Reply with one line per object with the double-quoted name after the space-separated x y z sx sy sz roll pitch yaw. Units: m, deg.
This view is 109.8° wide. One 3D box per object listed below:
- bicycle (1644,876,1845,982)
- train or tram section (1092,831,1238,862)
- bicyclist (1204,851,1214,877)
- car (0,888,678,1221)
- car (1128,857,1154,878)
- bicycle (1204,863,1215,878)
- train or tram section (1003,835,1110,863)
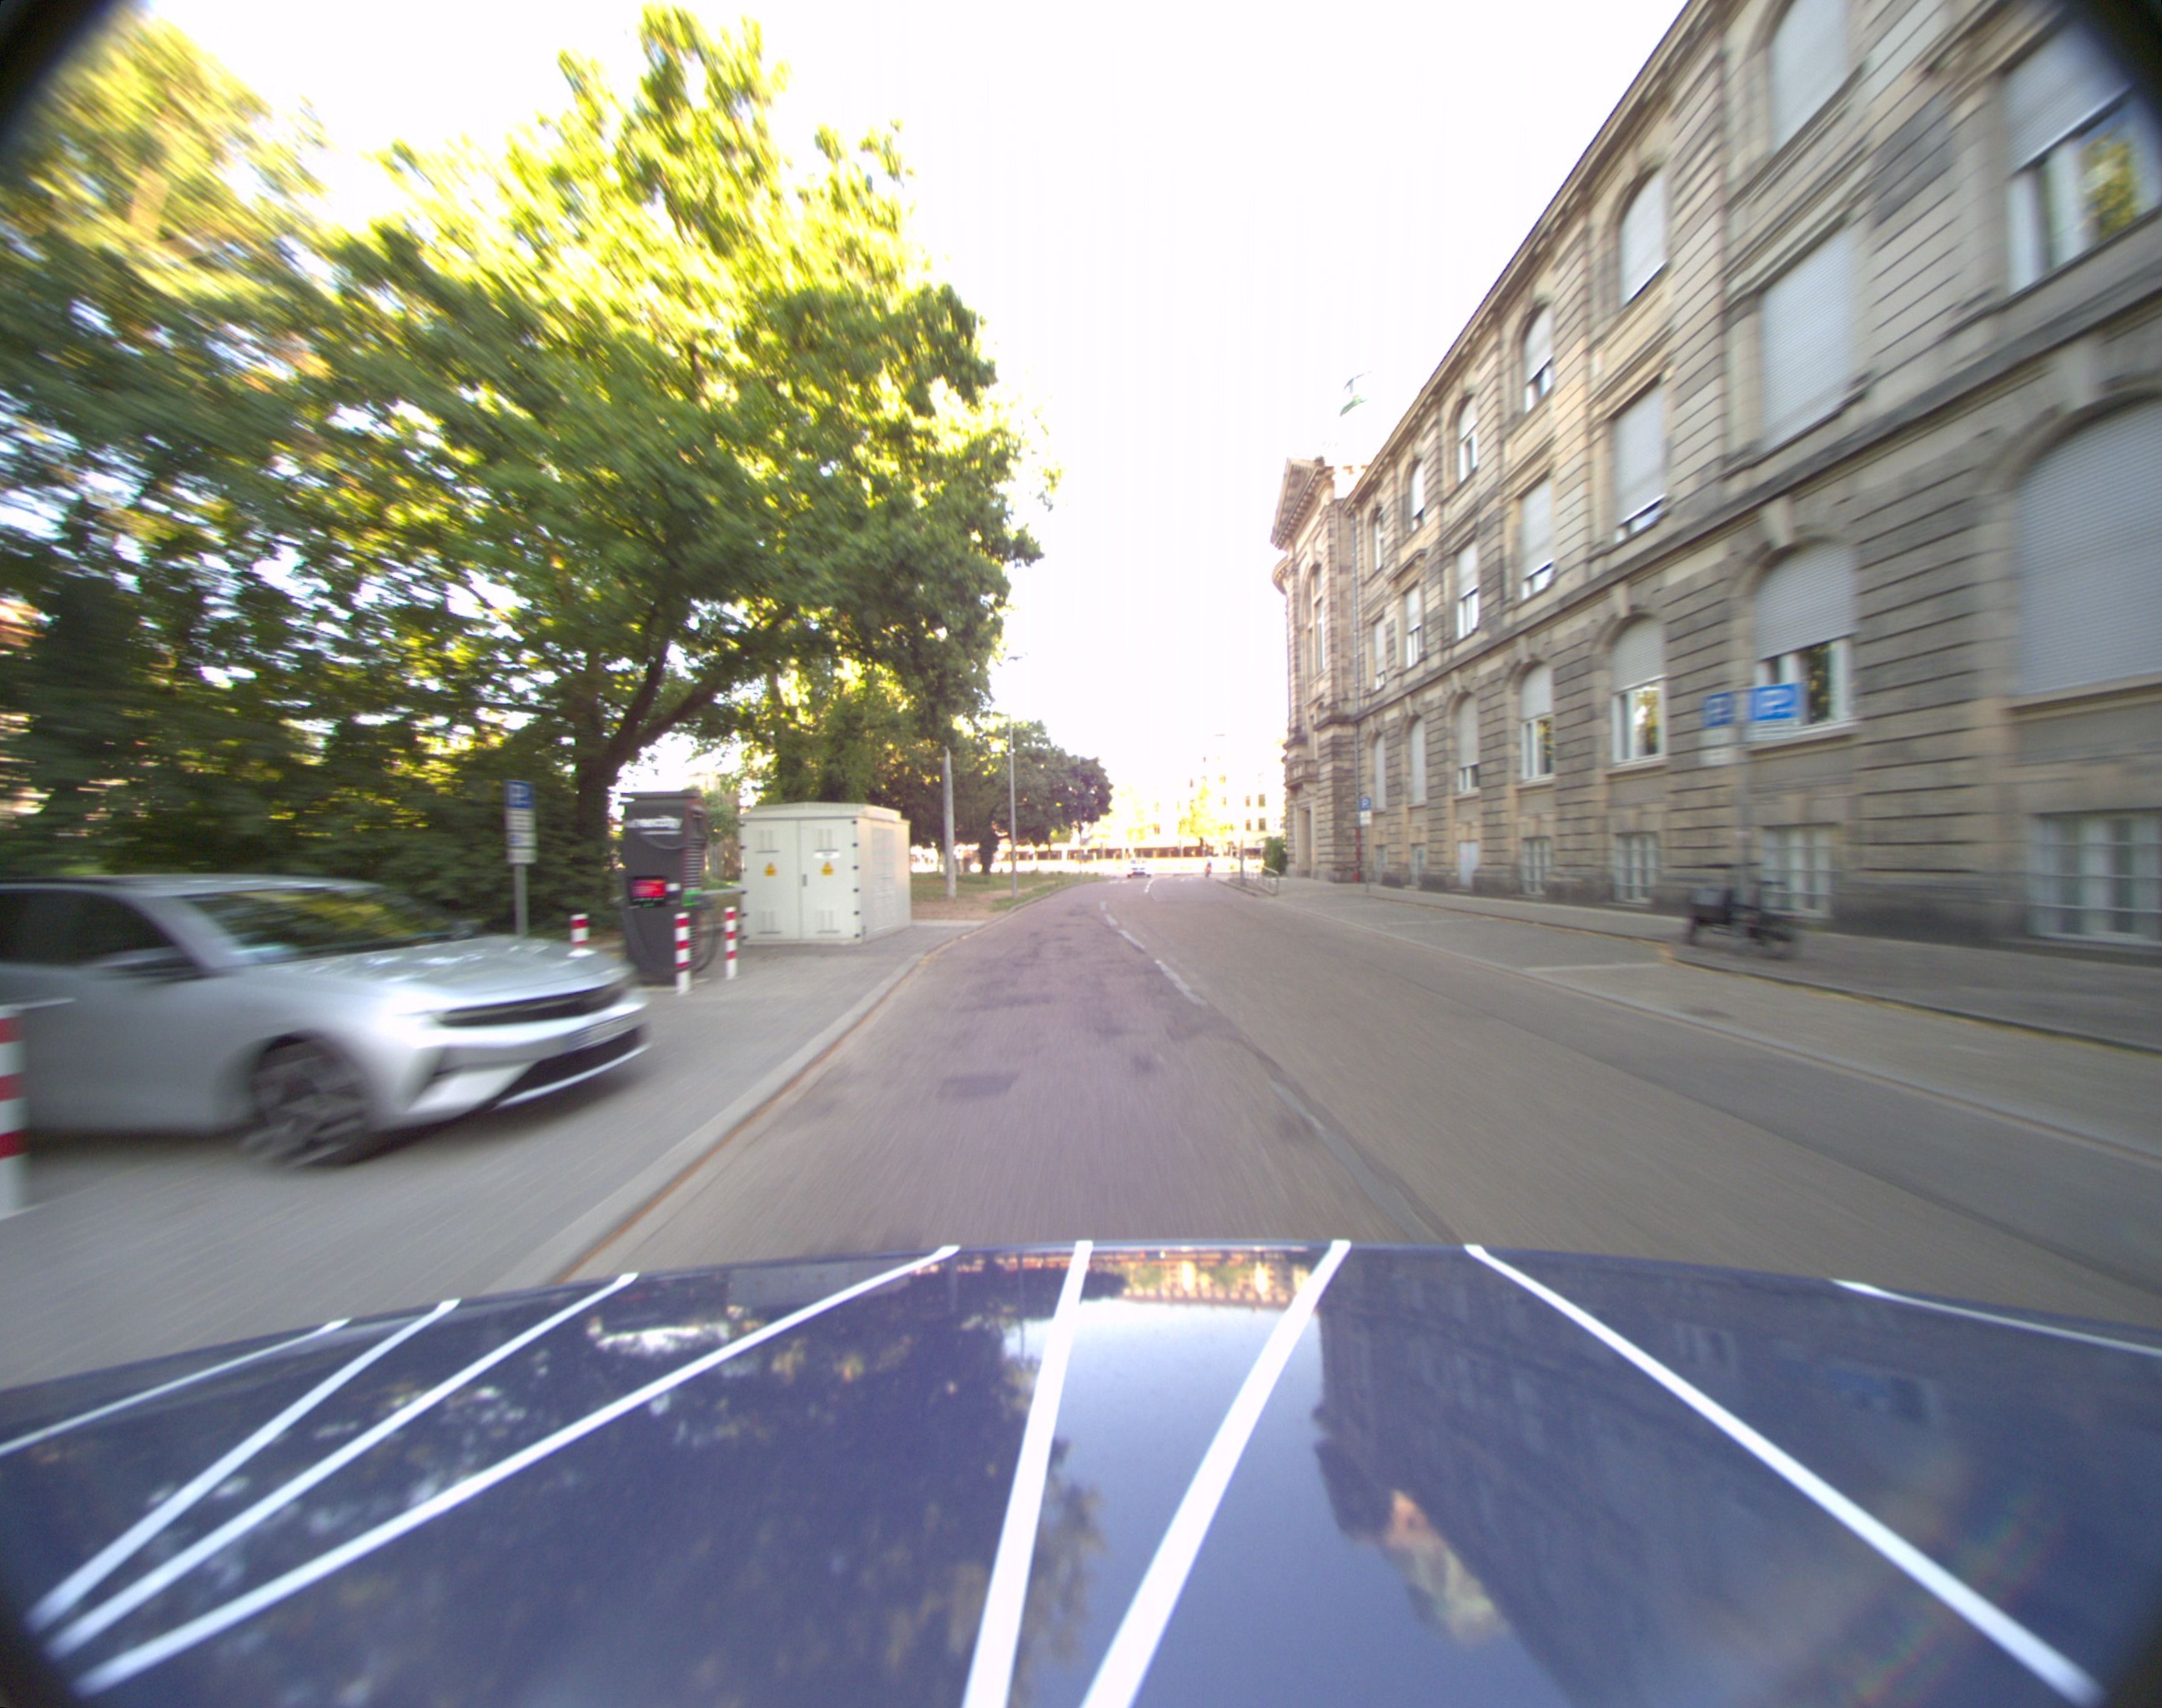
8.136 0.866 9.475 0.854 1.095 1.983 -3 0 5 "bicycle"
10.261 -0.823 97.239 19.875 3.538 3.129 -1 0 38 "train or tram section"
9.134 0.707 54.066 0.646 1.796 0.781 0 0 13 "bicyclist"
-5.061 0.976 4.442 4.452 1.460 1.782 0 0 0 "car"
4.768 1.072 59.965 1.832 1.528 4.282 -1 -1 7 "car"
9.133 1.154 54.039 0.663 1.064 2.155 0 0 13 "bicycle"
-3.829 -0.610 108.424 17.427 3.538 3.129 -1 0 39 "train or tram section"
